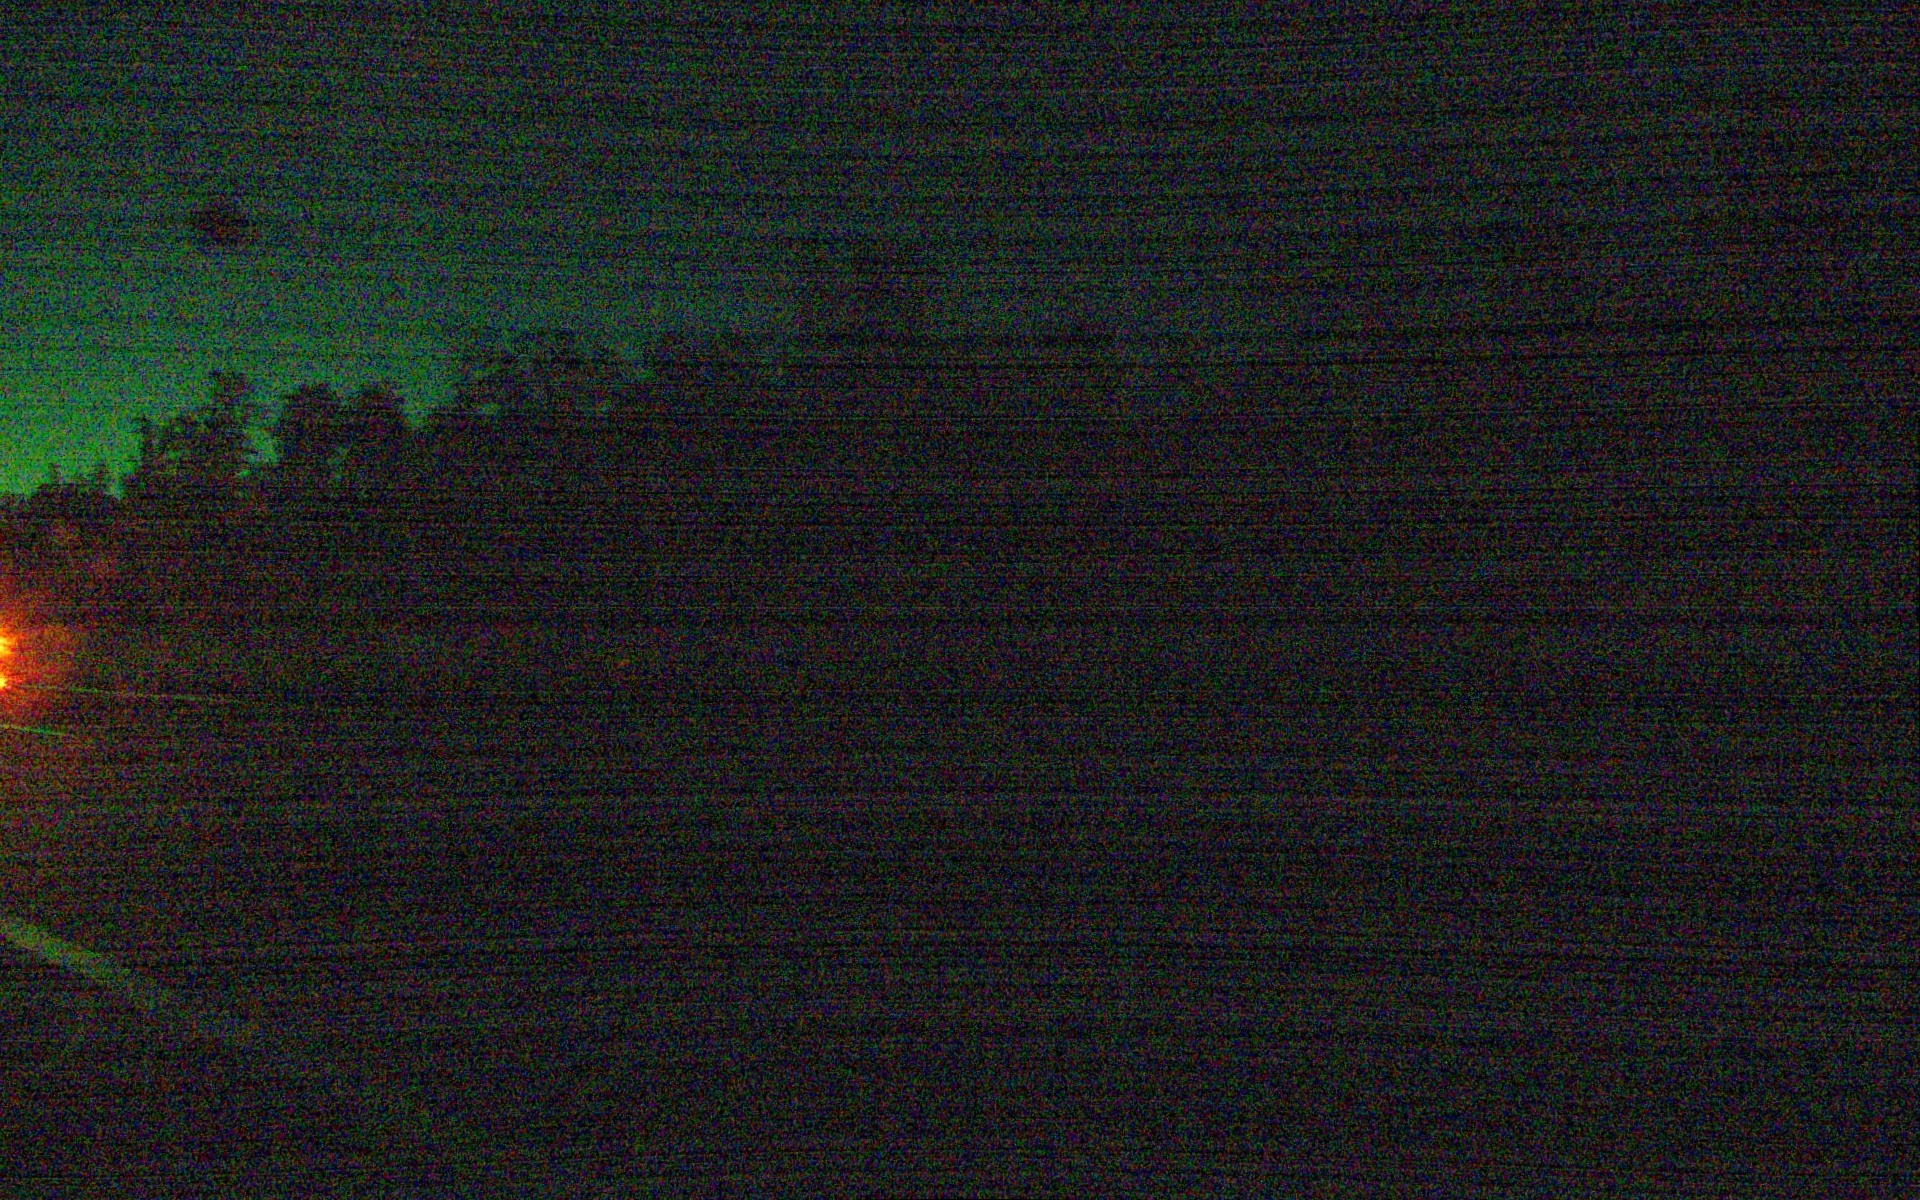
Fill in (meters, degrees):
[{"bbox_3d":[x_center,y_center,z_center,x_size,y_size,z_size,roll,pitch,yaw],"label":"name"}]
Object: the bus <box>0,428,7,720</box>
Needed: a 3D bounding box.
[{"bbox_3d":[-20.050,-0.230,16.649,14.493,4.044,2.648,-2,-2,32],"label":"bus"}]
